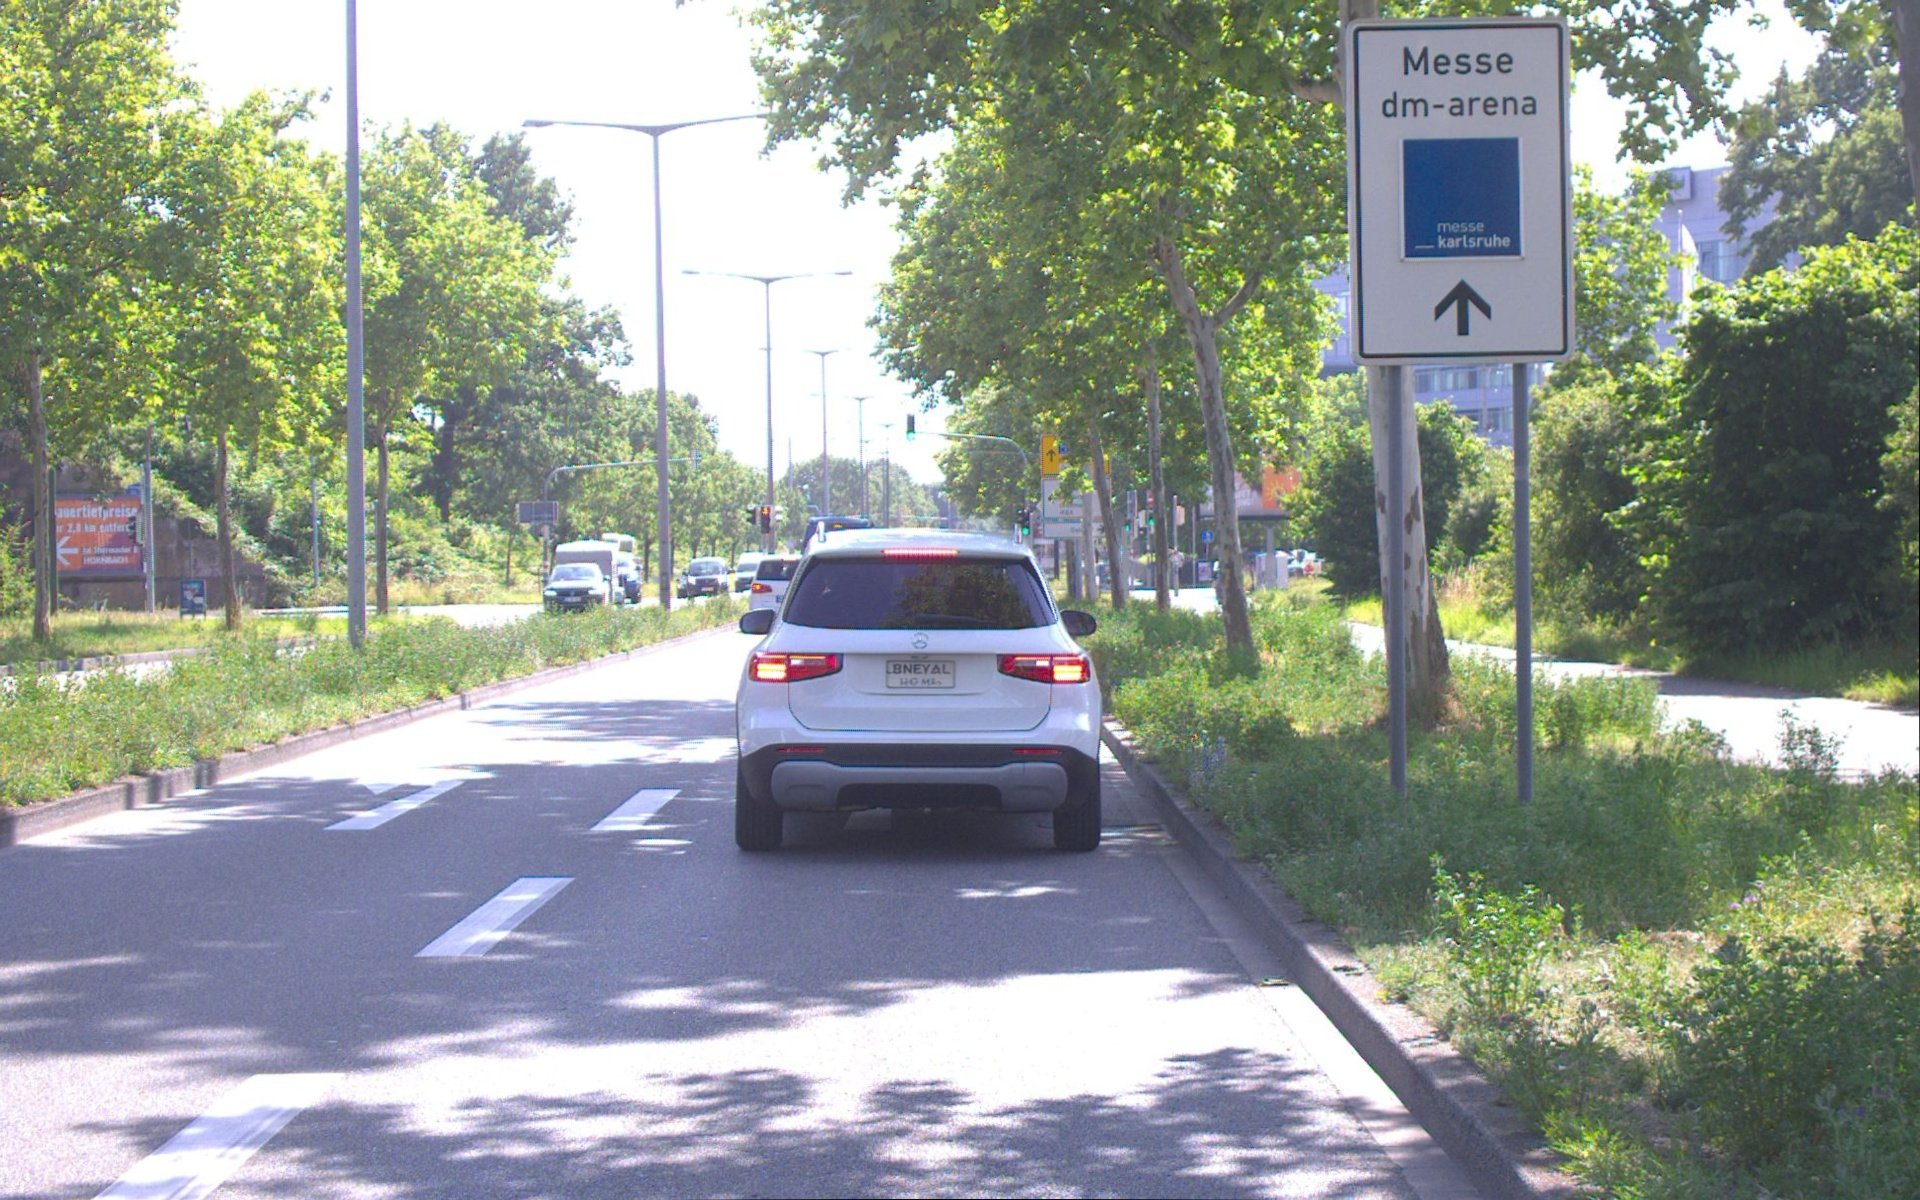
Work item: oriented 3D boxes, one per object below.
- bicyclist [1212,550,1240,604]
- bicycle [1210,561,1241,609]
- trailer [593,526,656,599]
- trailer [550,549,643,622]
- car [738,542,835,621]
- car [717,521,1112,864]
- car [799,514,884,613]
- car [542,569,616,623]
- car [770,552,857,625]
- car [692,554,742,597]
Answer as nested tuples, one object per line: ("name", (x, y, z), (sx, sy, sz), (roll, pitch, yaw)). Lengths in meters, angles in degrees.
("bicyclist", (7.337, -0.623, 94.766), (0.704, 1.472, 1.009), (0, 0, 1))
("bicycle", (7.317, -0.408, 94.772), (0.723, 1.294, 2.095), (0, 0, 1))
("trailer", (-12.979, -1.455, 133.246), (1.880, 2.734, 4.828), (1, 0, 1))
("trailer", (-11.577, -0.465, 109.866), (2.309, 2.257, 5.538), (0, 0, 1))
("car", (-3.671, -0.393, 73.185), (1.771, 1.641, 4.352), (0, 0, 1))
("car", (-0.328, 0.428, 18.369), (1.853, 1.602, 4.000), (1, 0, -3))
("car", (-3.271, -1.003, 95.851), (2.081, 2.647, 4.874), (1, 0, 1))
("car", (-11.607, -0.132, 104.892), (1.715, 1.616, 4.361), (0, 0, 1))
("car", (-3.366, -0.271, 79.650), (1.771, 1.641, 4.084), (0, 0, 1))
("car", (-10.376, -1.051, 147.009), (1.731, 1.803, 4.232), (1, 0, 1))
